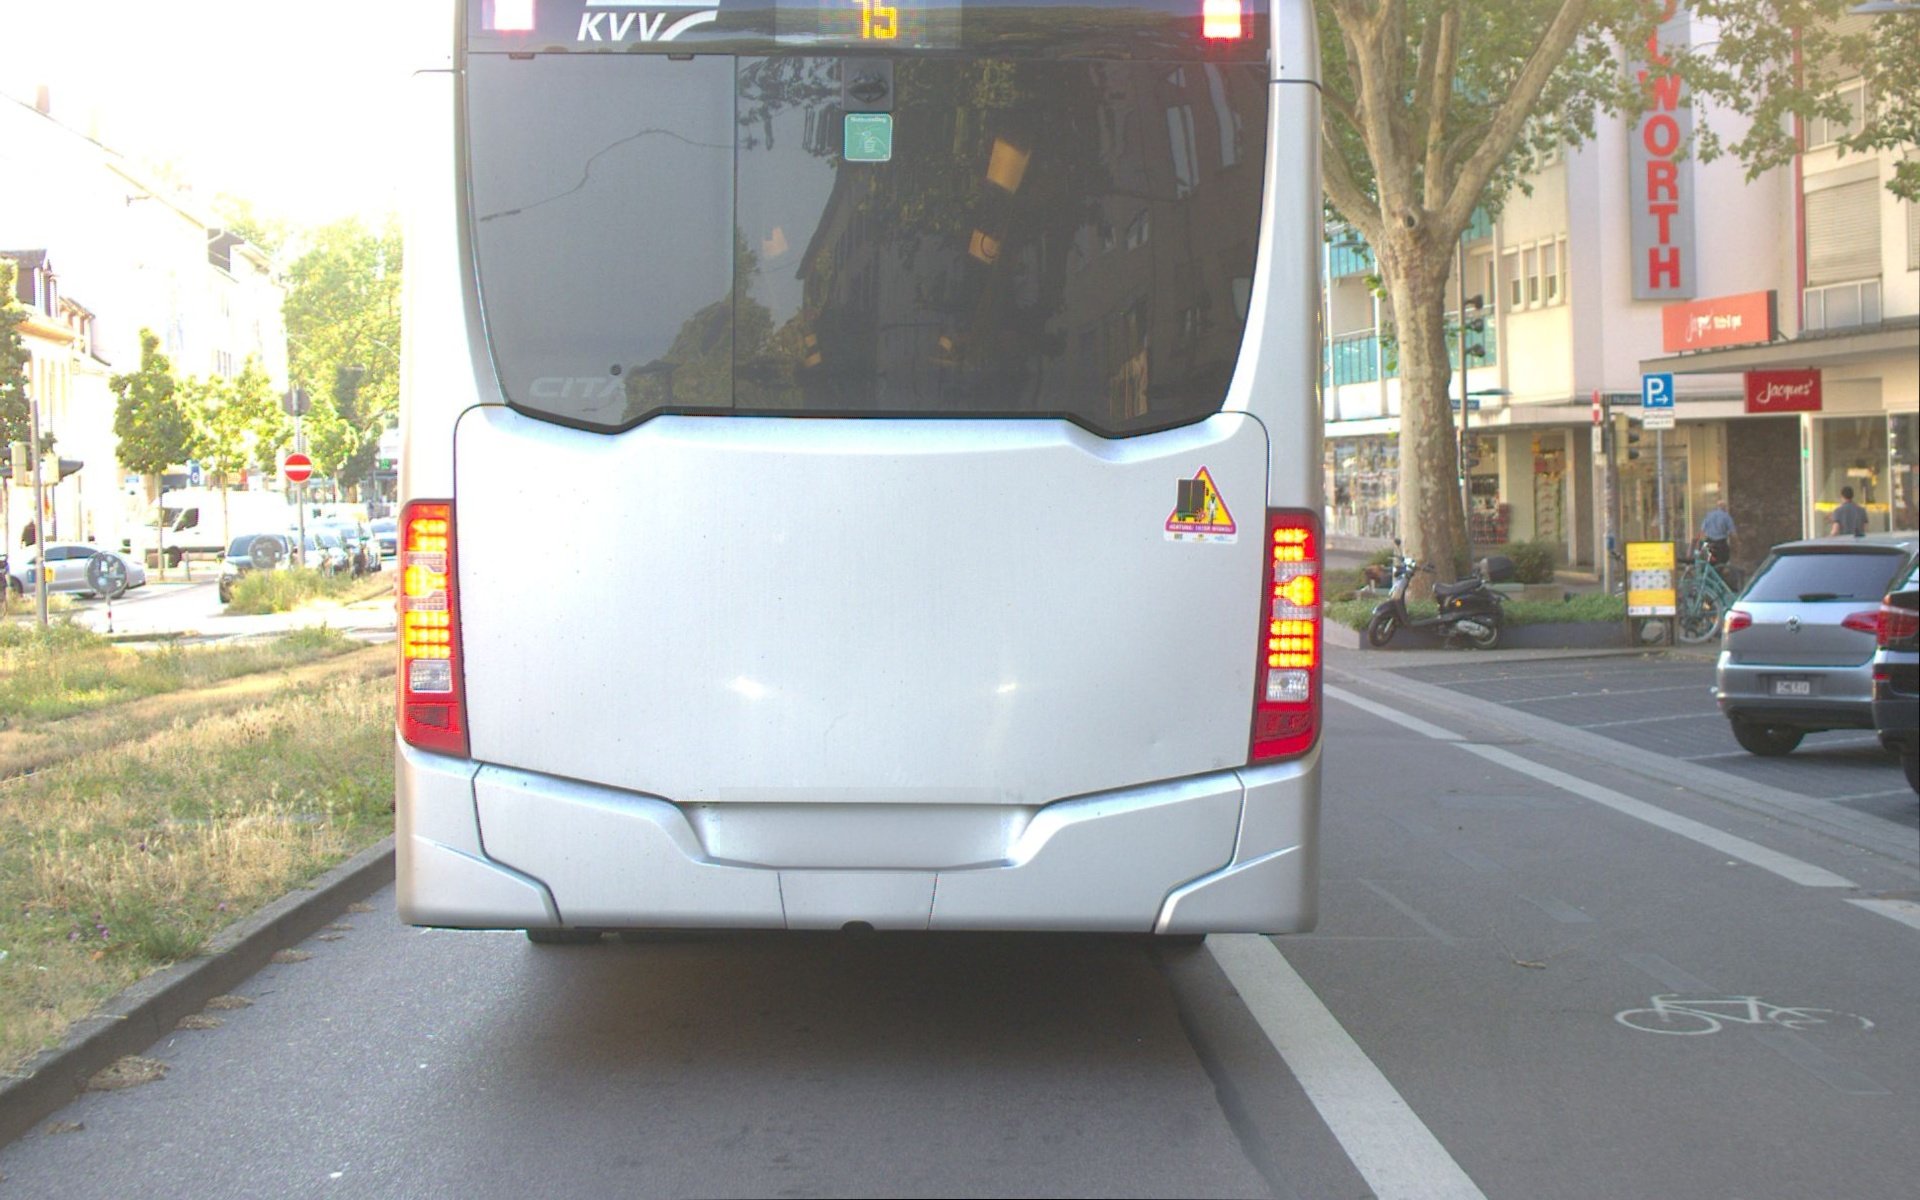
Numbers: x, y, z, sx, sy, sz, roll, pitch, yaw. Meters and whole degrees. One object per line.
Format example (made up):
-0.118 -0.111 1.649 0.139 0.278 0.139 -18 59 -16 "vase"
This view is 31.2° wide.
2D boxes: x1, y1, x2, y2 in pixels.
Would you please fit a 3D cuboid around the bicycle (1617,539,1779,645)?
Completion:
9.165 -0.107 42.719 1.785 1.185 0.672 -4 1 -9 "bicycle"

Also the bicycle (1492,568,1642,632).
7.889 0.001 44.744 1.877 0.762 0.711 -1 3 8 "bicycle"

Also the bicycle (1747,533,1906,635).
10.486 -0.199 41.643 1.765 1.150 0.678 -2 1 8 "bicycle"

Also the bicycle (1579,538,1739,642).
8.882 -0.134 43.728 1.877 1.185 0.711 -4 1 8 "bicycle"

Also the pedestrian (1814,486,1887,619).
12.205 -0.654 47.145 0.780 1.787 0.764 -1 1 0 "pedestrian"

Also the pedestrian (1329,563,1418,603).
6.180 -0.256 51.425 1.254 0.587 0.482 -1 1 -2 "pedestrian"

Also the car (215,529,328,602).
-15.509 -0.793 77.583 1.722 1.504 3.476 -3 1 0 "car"

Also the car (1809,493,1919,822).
6.607 0.235 18.665 4.139 1.675 1.809 -2 2 -41 "car"

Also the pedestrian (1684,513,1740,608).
13.610 -0.725 62.246 0.747 1.673 0.835 -1 3 -7 "pedestrian"

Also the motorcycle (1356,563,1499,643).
5.476 0.033 40.330 1.570 0.889 0.544 -1 1 -3 "motorcycle"

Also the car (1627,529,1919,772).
6.524 0.255 22.826 4.165 1.446 1.809 -2 1 -38 "car"

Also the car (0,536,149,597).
-22.534 -0.834 84.684 4.538 1.407 2.000 -2 2 -37 "car"

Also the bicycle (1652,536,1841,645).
9.446 -0.116 41.331 2.081 1.228 0.831 -2 1 5 "bicycle"

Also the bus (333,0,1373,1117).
-0.264 -0.304 12.437 2.678 3.073 7.114 0 2 0 "bus"
